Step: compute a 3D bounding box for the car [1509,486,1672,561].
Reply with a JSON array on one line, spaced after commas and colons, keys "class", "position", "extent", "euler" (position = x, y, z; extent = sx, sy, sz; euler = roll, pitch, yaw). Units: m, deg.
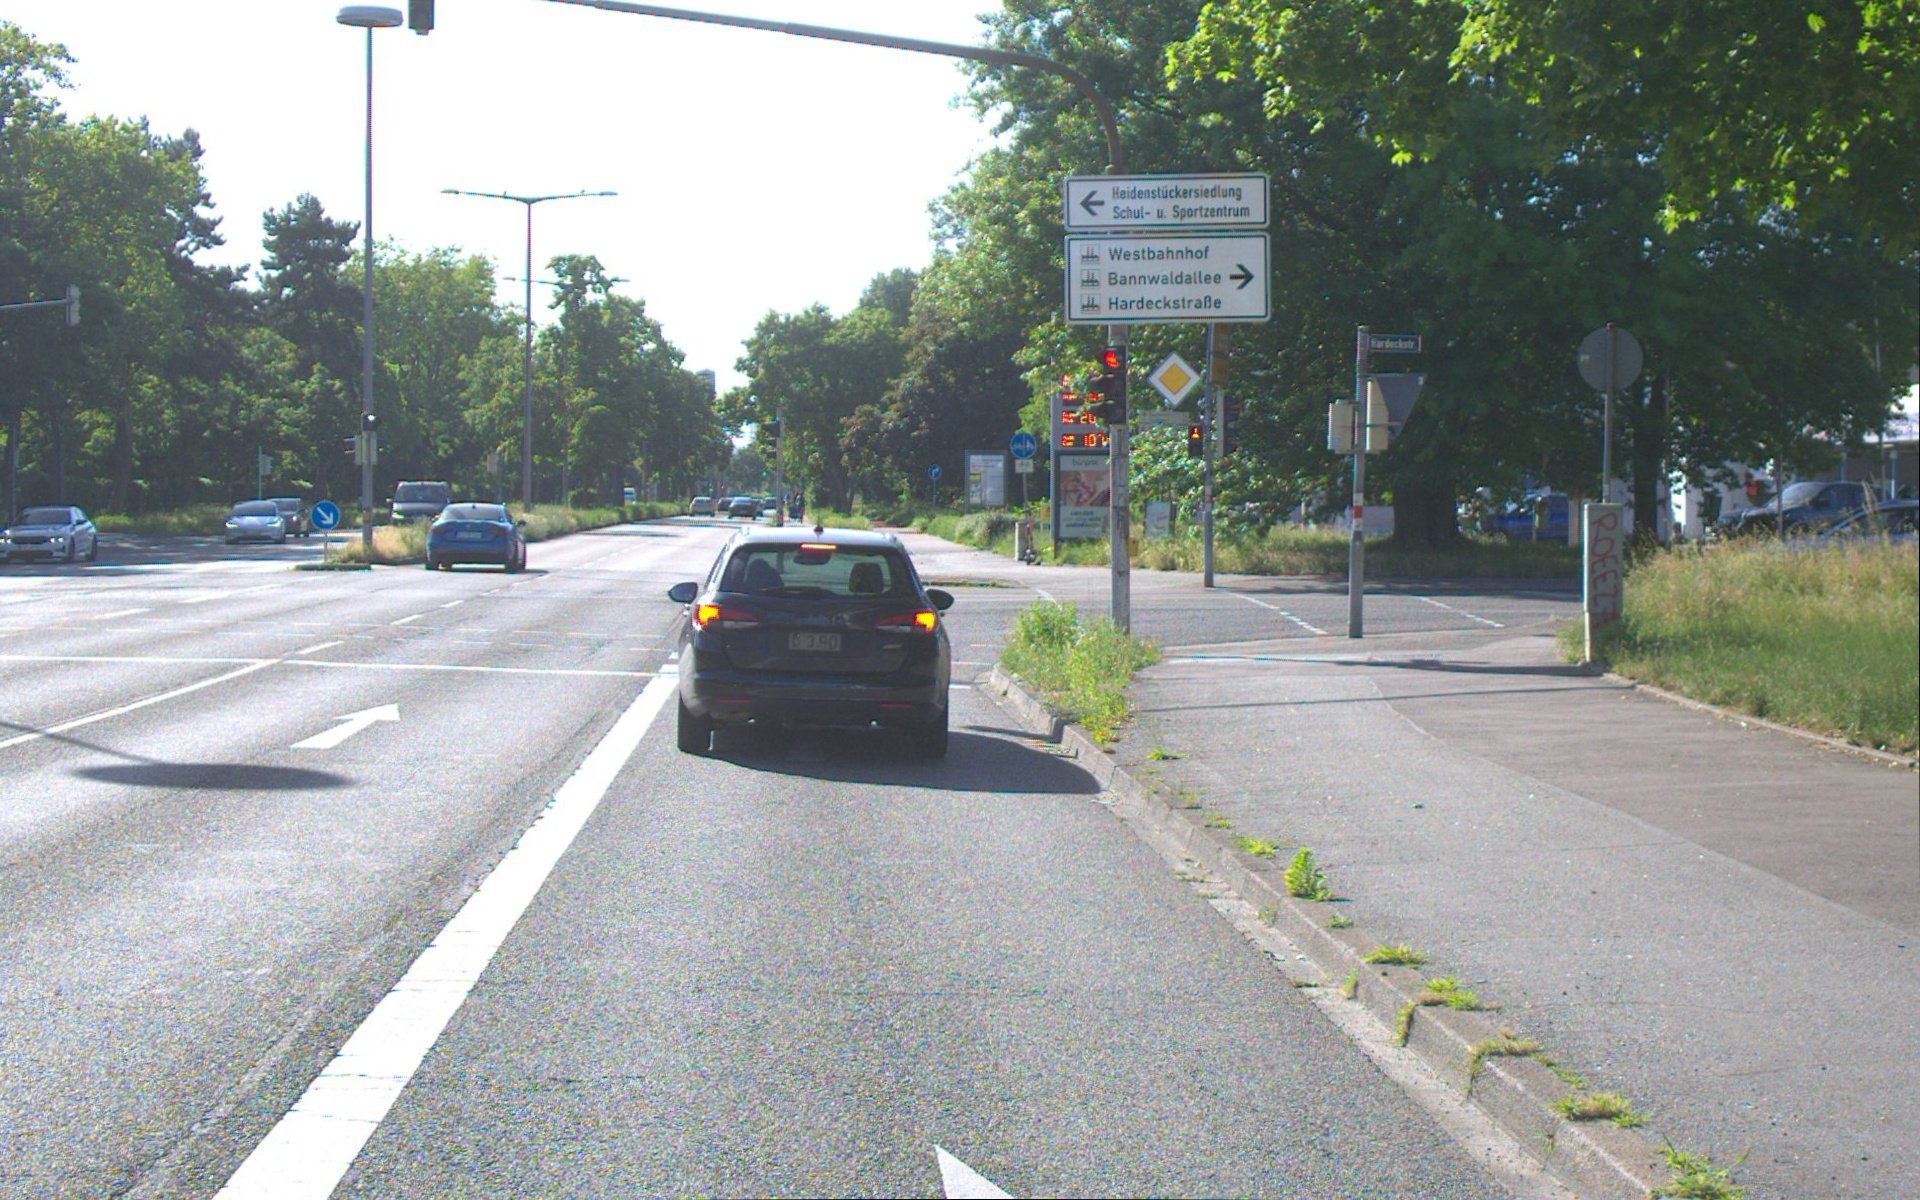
[{"class": "car", "position": [16.140, -1.949, 88.123], "extent": [3.711, 1.679, 1.704], "euler": [3, 0, -5]}]

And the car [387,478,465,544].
[{"class": "car", "position": [-17.623, -2.915, 113.624], "extent": [1.993, 2.007, 4.000], "euler": [3, 0, -3]}]

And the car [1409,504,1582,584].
[{"class": "car", "position": [12.773, -1.337, 81.915], "extent": [3.711, 1.679, 1.704], "euler": [3, 0, -29]}]

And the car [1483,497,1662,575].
[{"class": "car", "position": [14.196, -1.478, 79.599], "extent": [3.836, 1.558, 1.805], "euler": [3, 1, -34]}]

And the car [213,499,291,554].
[{"class": "car", "position": [-23.783, -2.460, 115.619], "extent": [1.864, 1.678, 4.000], "euler": [3, 0, -2]}]

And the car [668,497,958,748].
[{"class": "car", "position": [-1.007, 0.117, 23.301], "extent": [1.755, 1.504, 3.809], "euler": [2, 1, -3]}]

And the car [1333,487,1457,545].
[{"class": "car", "position": [14.515, -2.801, 114.809], "extent": [3.711, 1.679, 1.704], "euler": [3, 0, -5]}]

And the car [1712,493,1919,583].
[{"class": "car", "position": [17.684, -1.287, 70.849], "extent": [3.834, 1.606, 1.806], "euler": [3, 0, -22]}]

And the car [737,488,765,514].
[{"class": "car", "position": [-14.067, -6.668, 231.694], "extent": [1.732, 1.579, 3.841], "euler": [3, 0, -2]}]

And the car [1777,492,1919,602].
[{"class": "car", "position": [14.686, -0.754, 51.399], "extent": [4.620, 1.568, 1.999], "euler": [1, 0, 9]}]

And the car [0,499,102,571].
[{"class": "car", "position": [-23.207, -1.644, 87.280], "extent": [1.864, 1.678, 4.261], "euler": [3, 0, -2]}]

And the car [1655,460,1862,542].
[{"class": "car", "position": [16.874, -2.089, 72.645], "extent": [3.834, 1.477, 1.806], "euler": [3, 0, -22]}]

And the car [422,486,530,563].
[{"class": "car", "position": [-10.208, -1.576, 72.732], "extent": [1.888, 1.547, 4.000], "euler": [1, 1, -3]}]
